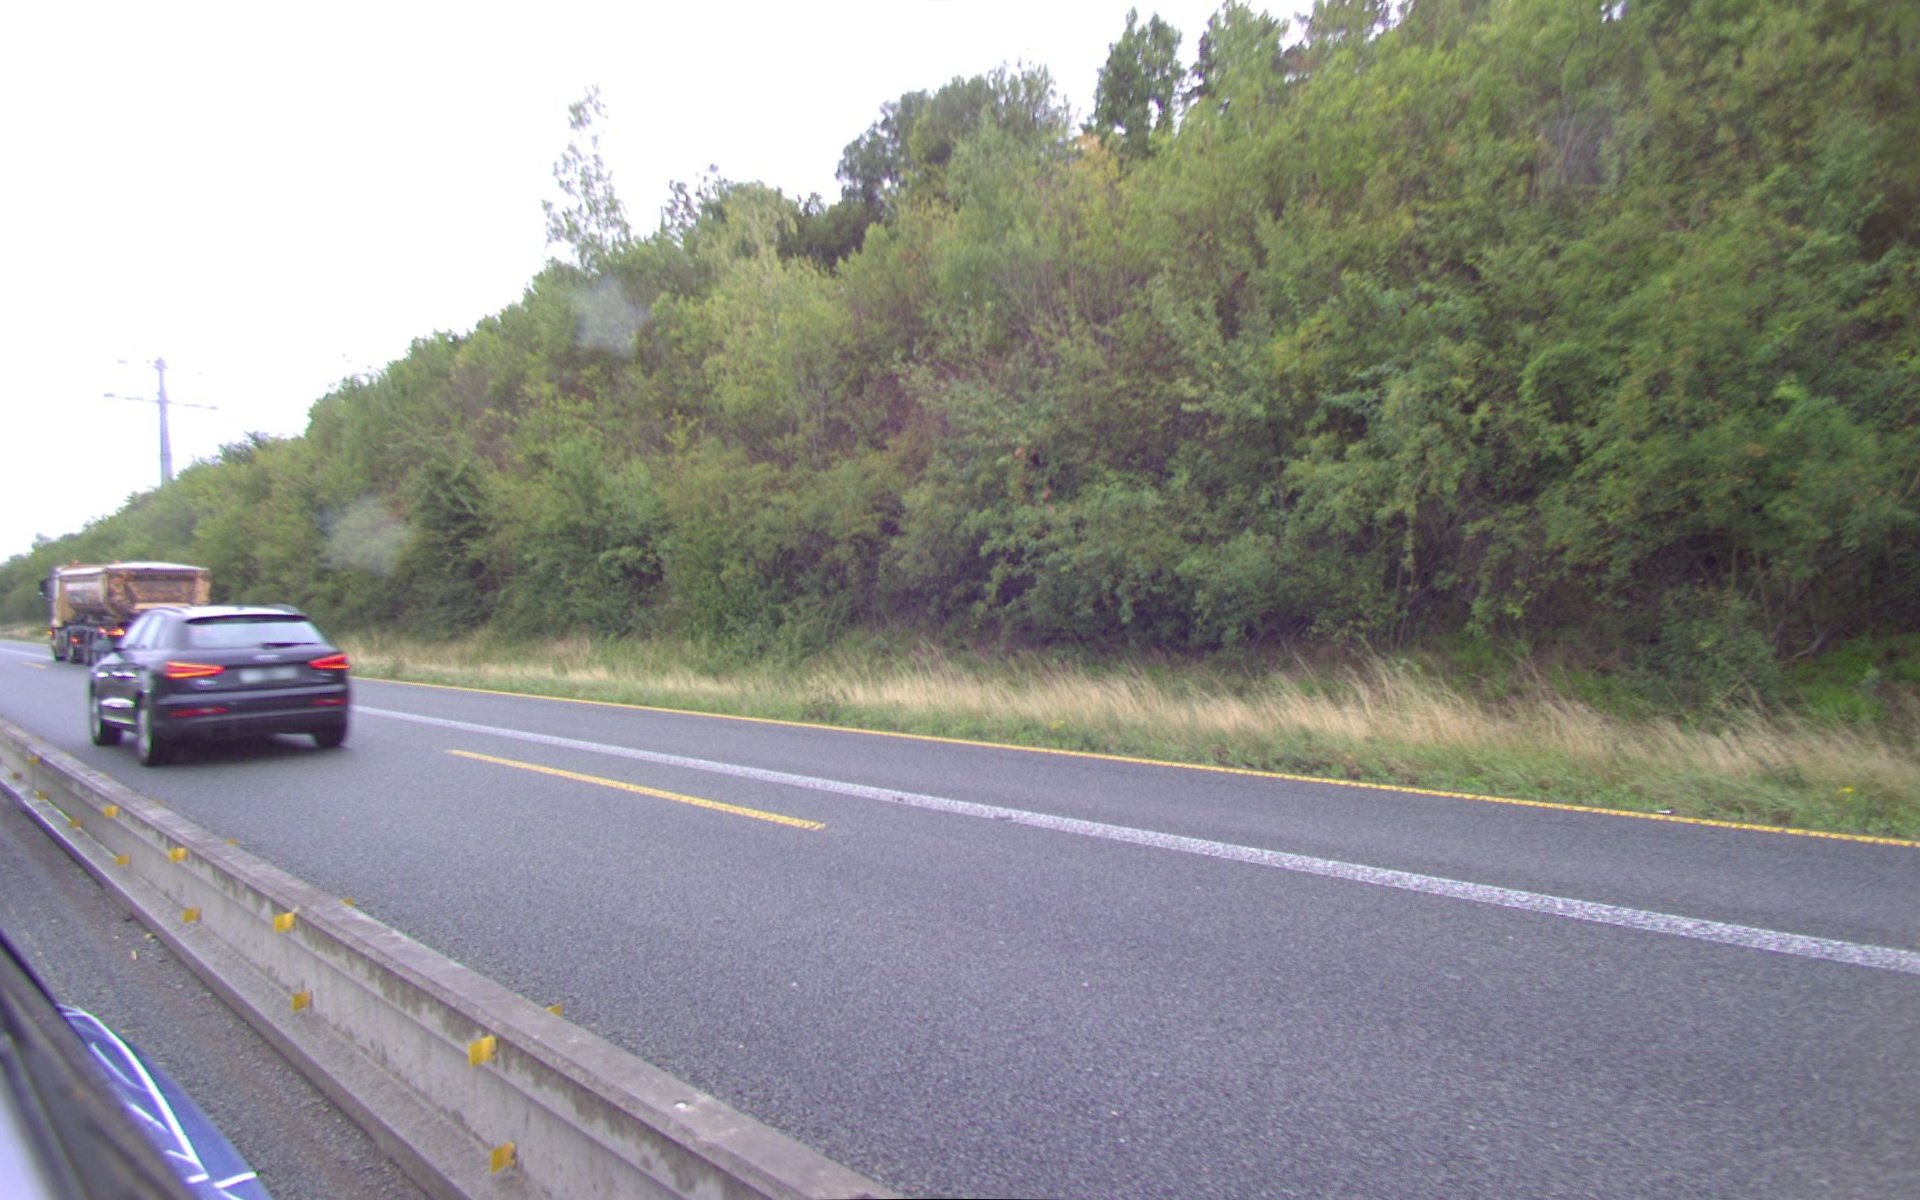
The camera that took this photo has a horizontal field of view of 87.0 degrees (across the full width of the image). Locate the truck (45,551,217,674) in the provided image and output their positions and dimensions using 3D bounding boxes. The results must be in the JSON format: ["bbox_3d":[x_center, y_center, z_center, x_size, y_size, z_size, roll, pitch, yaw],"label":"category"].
[{"bbox_3d":[-27.229,0.402,32.919,12.046,3.378,2.508,-1,0,42],"label":"truck"}]

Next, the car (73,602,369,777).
[{"bbox_3d":[-8.243,0.831,11.163,3.987,1.571,1.791,-1,0,41],"label":"car"}]
